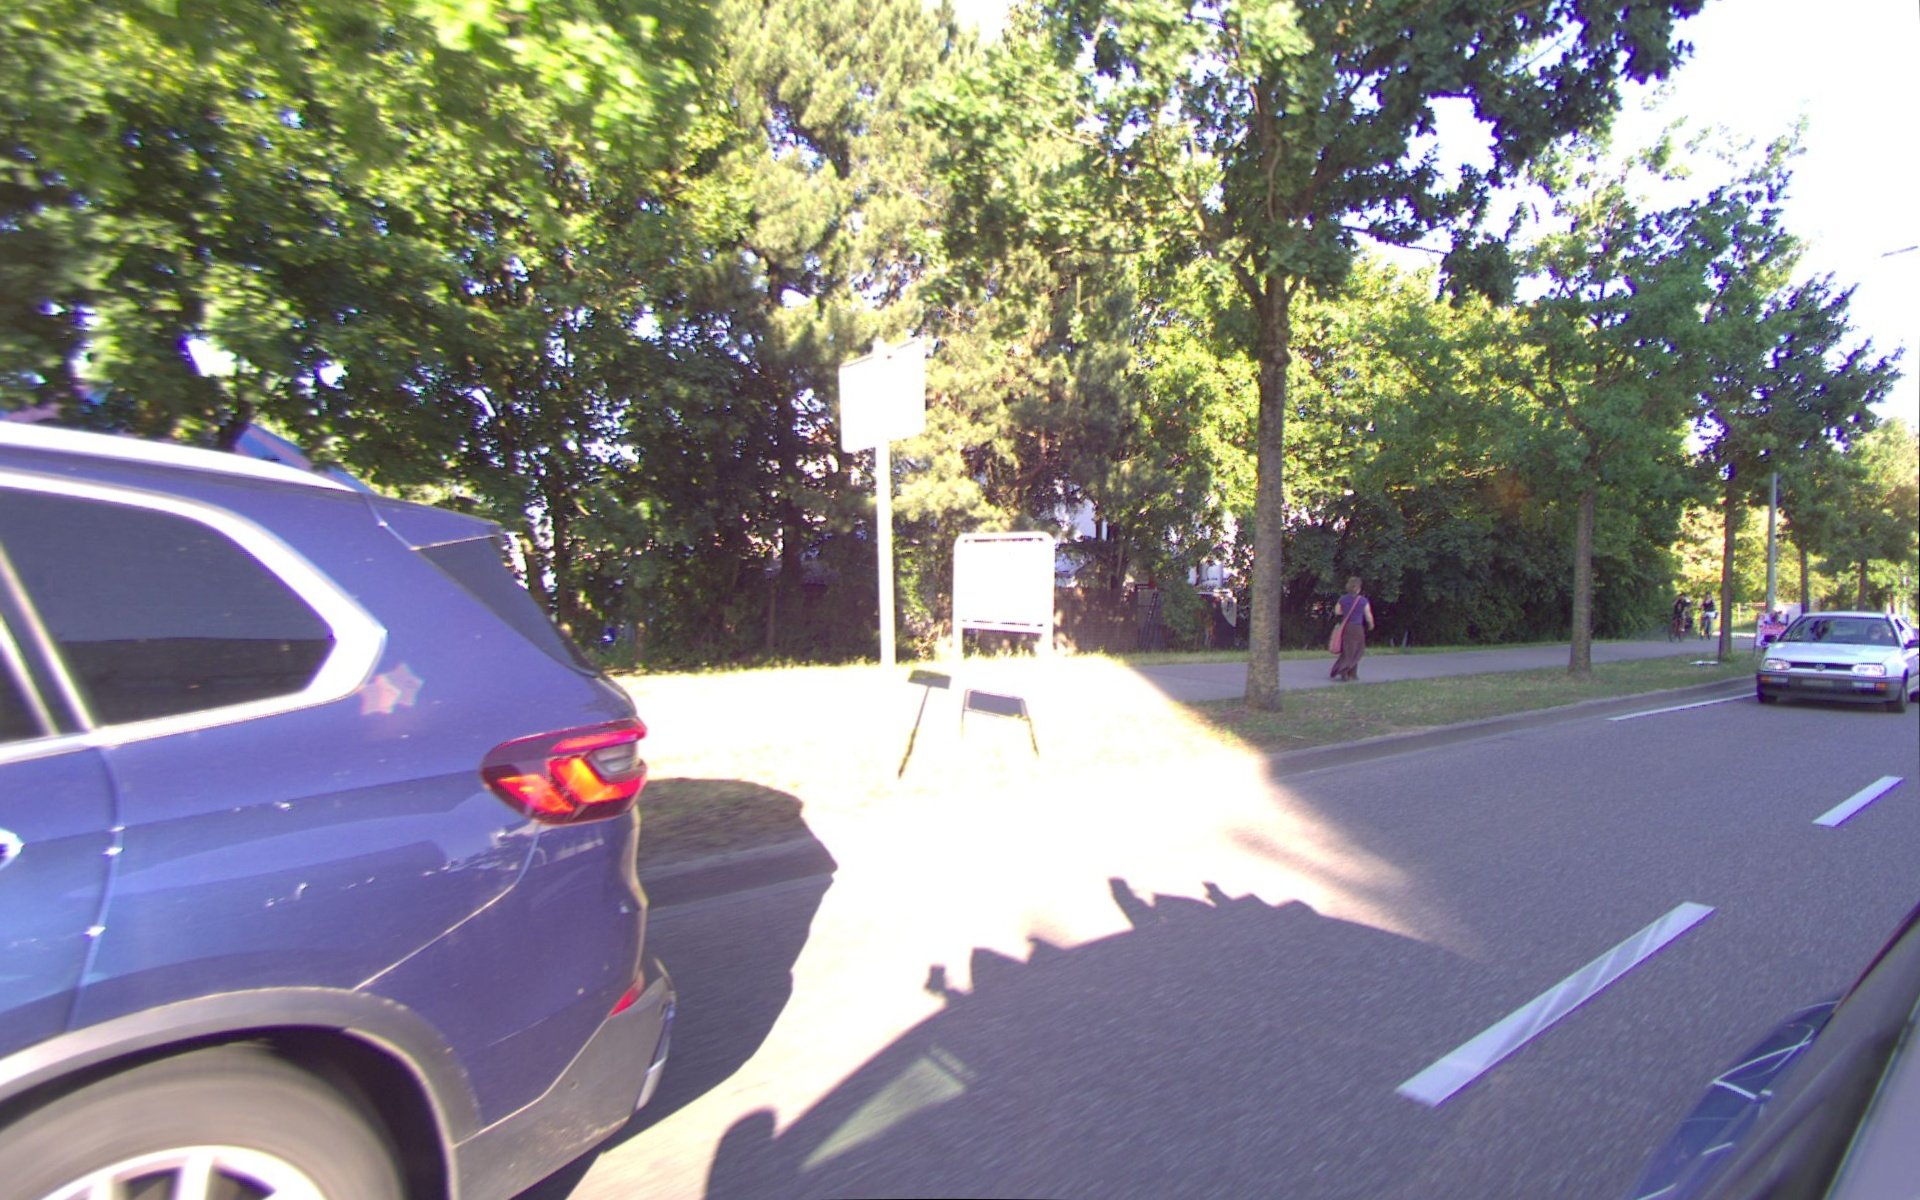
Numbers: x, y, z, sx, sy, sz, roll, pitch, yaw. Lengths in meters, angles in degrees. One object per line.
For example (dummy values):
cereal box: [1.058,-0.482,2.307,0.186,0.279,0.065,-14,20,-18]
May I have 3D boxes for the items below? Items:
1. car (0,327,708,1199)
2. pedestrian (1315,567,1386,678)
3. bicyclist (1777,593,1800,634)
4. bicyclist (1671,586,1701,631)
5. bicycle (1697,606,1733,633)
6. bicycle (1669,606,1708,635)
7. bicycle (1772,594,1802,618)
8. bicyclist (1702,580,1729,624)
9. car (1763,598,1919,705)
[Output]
car: [-2.887,0.510,1.289,4.616,1.748,1.958,-1,1,-40]
pedestrian: [5.863,0.315,15.176,0.670,1.593,0.897,3,2,41]
bicyclist: [36.601,0.586,44.689,0.833,1.755,0.605,1,0,-39]
bicyclist: [24.998,0.288,34.834,0.833,1.520,0.614,1,0,-39]
bicycle: [28.432,0.719,38.096,2.021,0.986,0.618,0,1,-39]
bicycle: [25.191,0.696,34.987,1.789,0.986,0.618,0,1,-39]
bicycle: [36.332,0.263,44.461,2.021,0.986,0.618,0,1,-39]
bicyclist: [28.430,0.070,38.093,0.833,1.598,0.605,1,0,-39]
car: [13.891,0.733,15.538,3.965,1.416,1.614,2,0,-39]
